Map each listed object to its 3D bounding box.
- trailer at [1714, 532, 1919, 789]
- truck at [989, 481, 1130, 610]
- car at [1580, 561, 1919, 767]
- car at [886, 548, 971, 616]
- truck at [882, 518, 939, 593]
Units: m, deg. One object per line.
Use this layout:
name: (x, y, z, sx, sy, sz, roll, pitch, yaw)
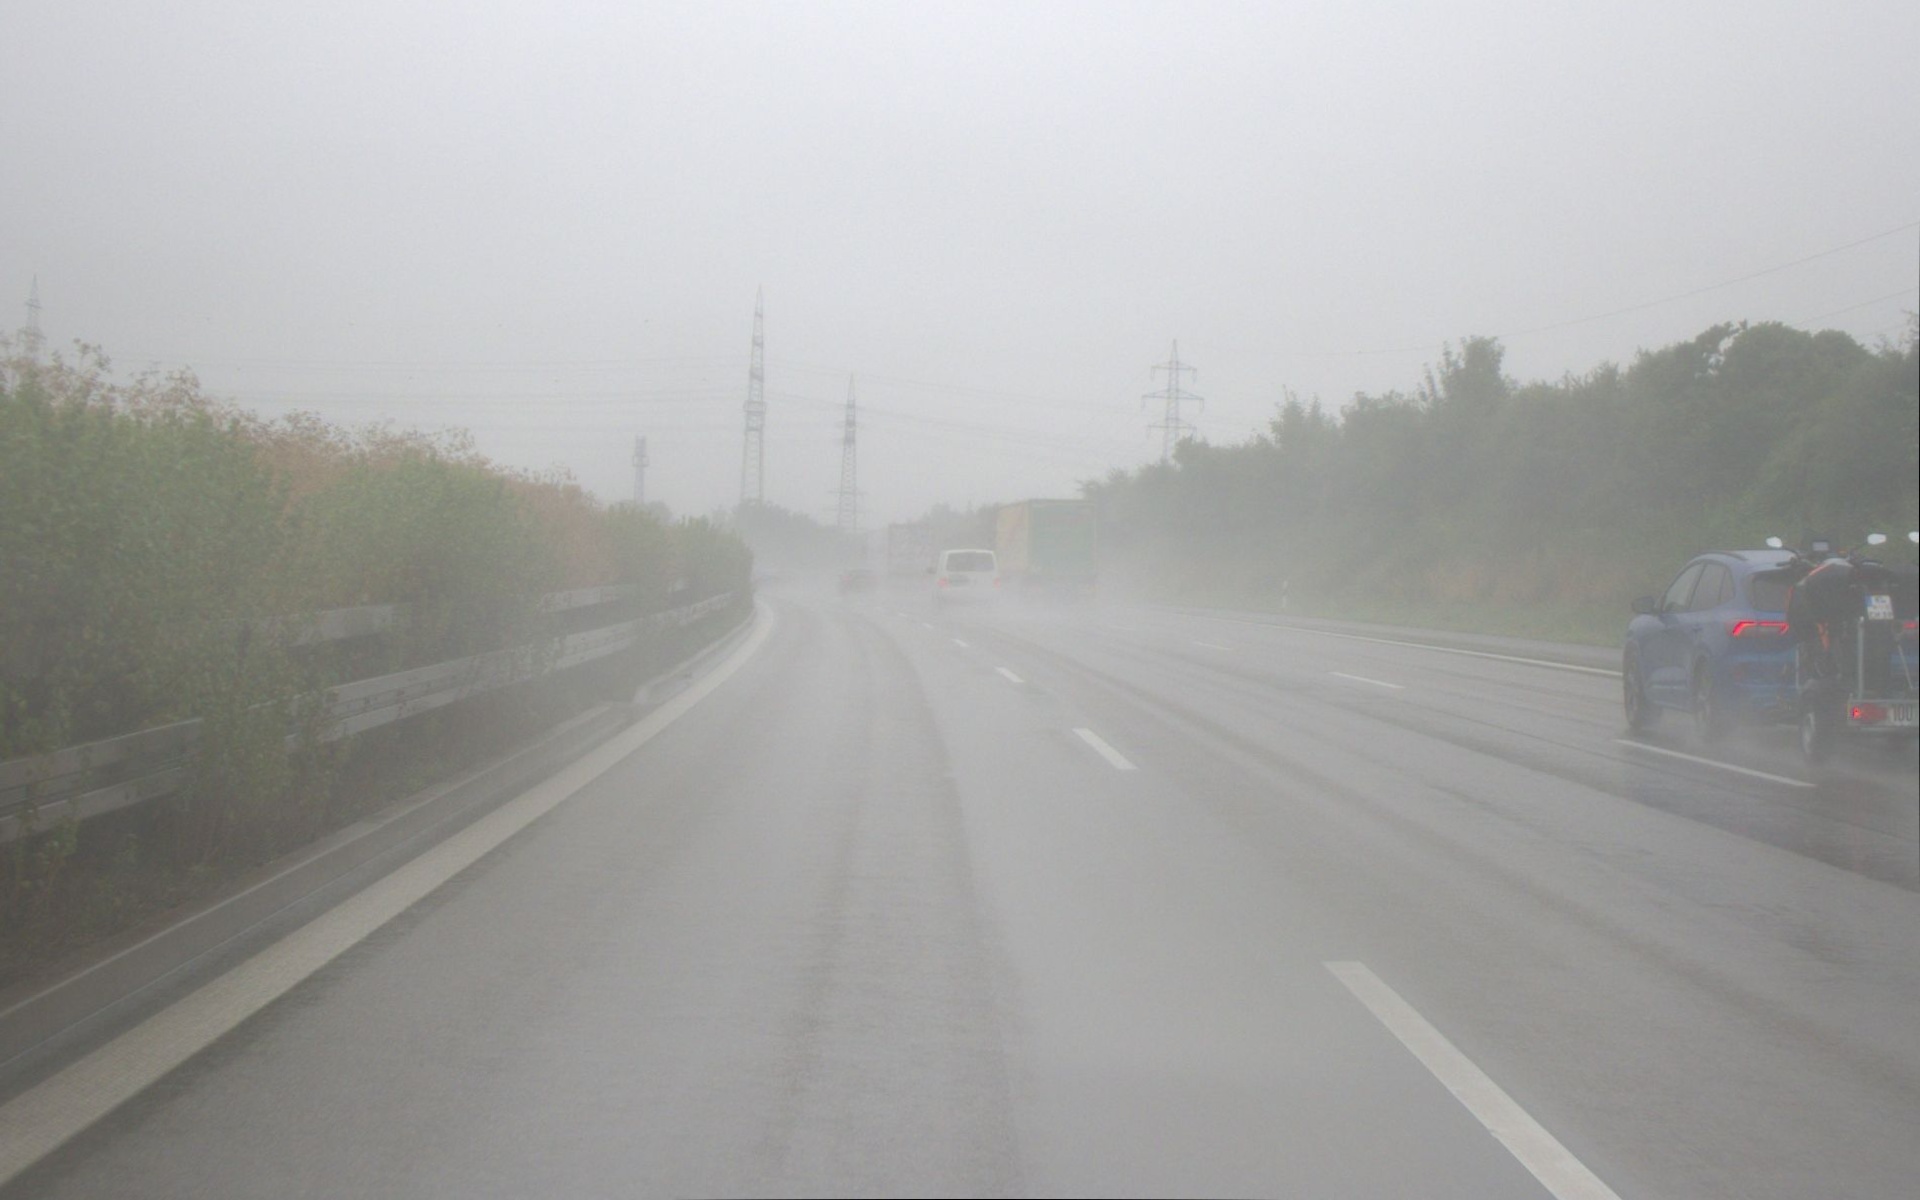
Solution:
trailer: (6.964, 0.426, 25.533, 1.979, 1.779, 3.189, 0, 0, -1)
truck: (3.657, -1.979, 132.271, 4.188, 4.614, 16.106, 1, 0, -3)
car: (6.872, 0.507, 29.657, 1.993, 1.613, 4.993, 0, 0, -2)
car: (-0.992, -0.564, 104.696, 1.993, 2.007, 4.001, 0, 1, -9)
truck: (-2.990, -2.619, 203.431, 3.232, 4.297, 8.837, 1, 1, -2)
